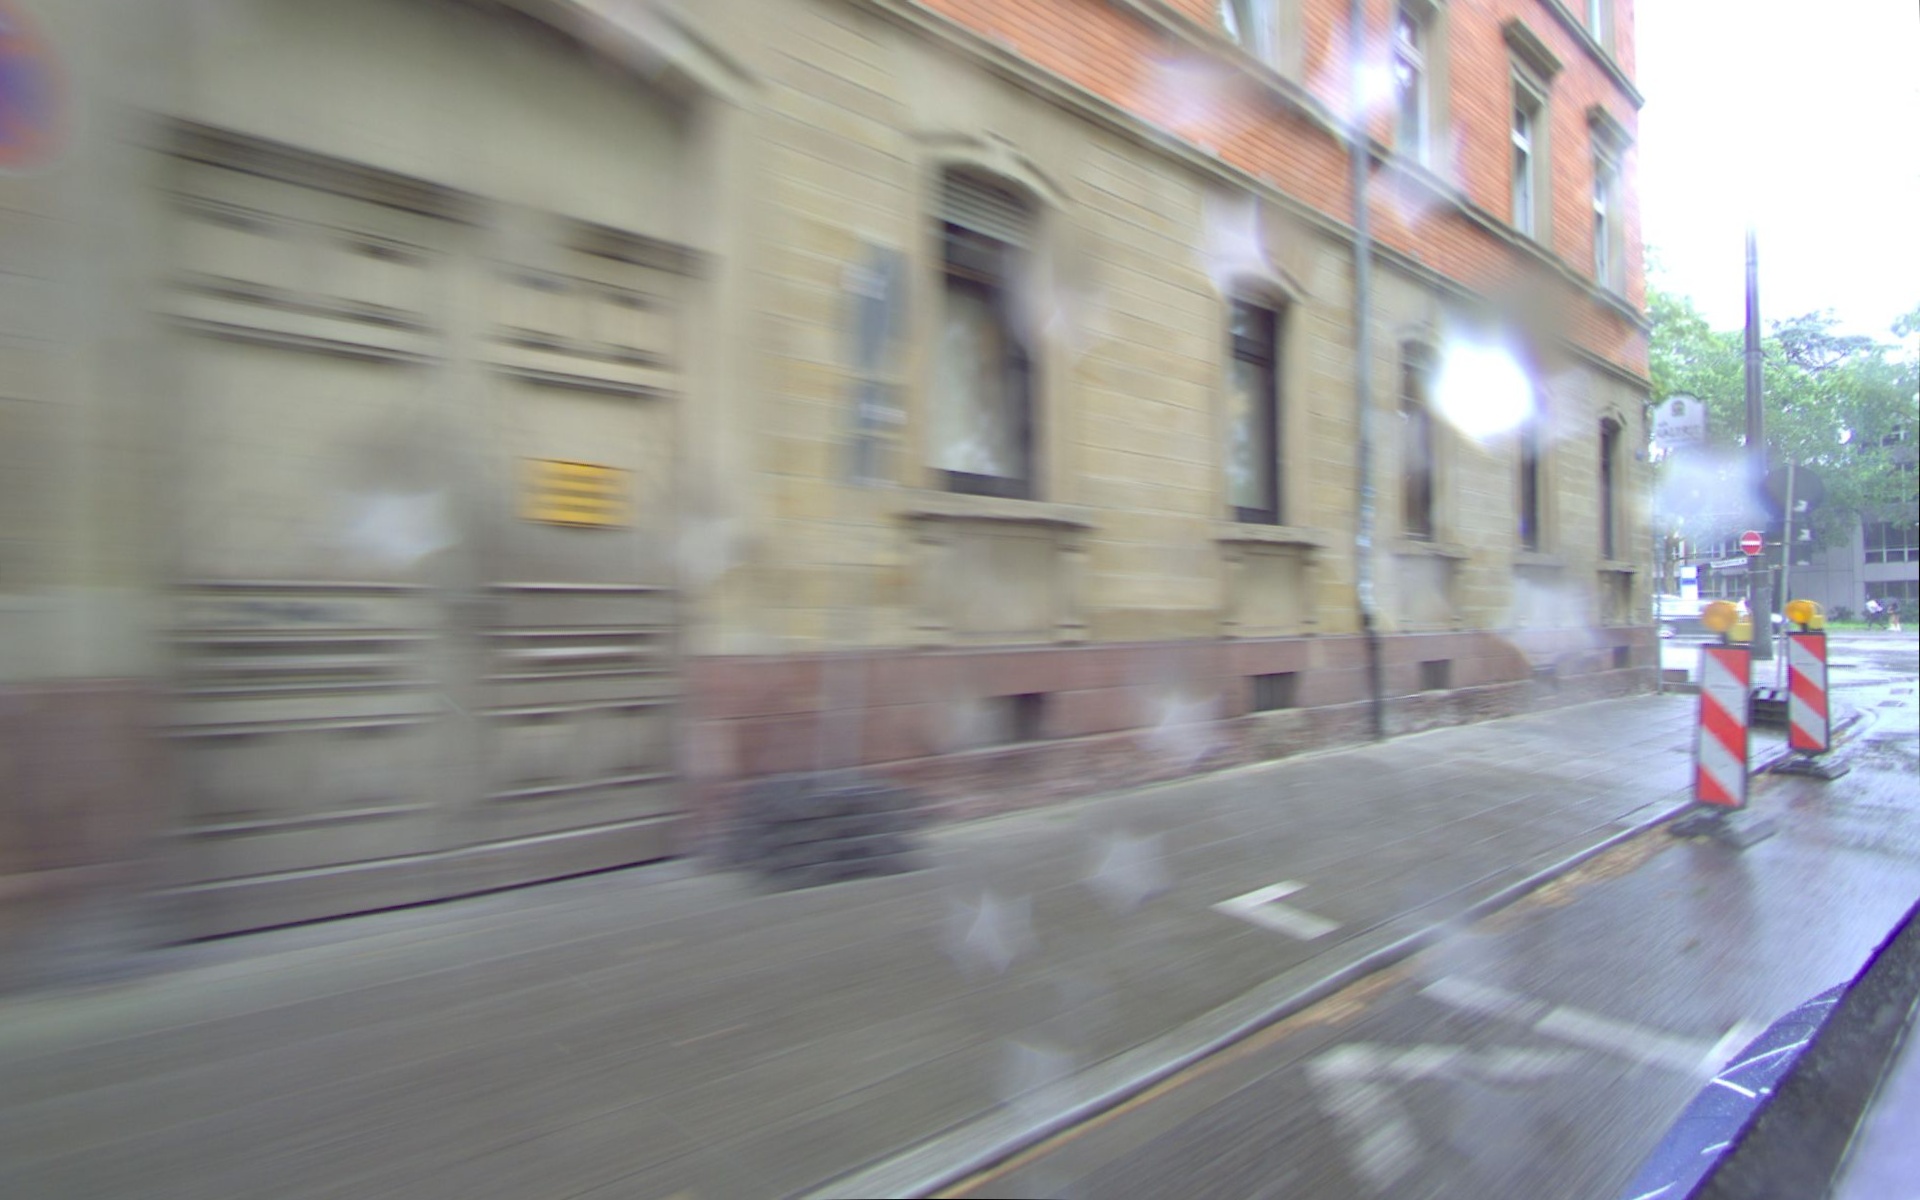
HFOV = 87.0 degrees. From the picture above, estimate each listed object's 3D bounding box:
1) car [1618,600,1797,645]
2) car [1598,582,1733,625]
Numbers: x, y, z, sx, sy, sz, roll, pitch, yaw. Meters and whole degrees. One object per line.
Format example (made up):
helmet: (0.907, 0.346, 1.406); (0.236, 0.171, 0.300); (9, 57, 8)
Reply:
car: (28.236, 0.860, 38.403); (5.306, 1.613, 1.922); (-2, -2, 38)
car: (29.573, 0.150, 42.561); (4.526, 1.681, 1.765); (-2, 0, 35)
